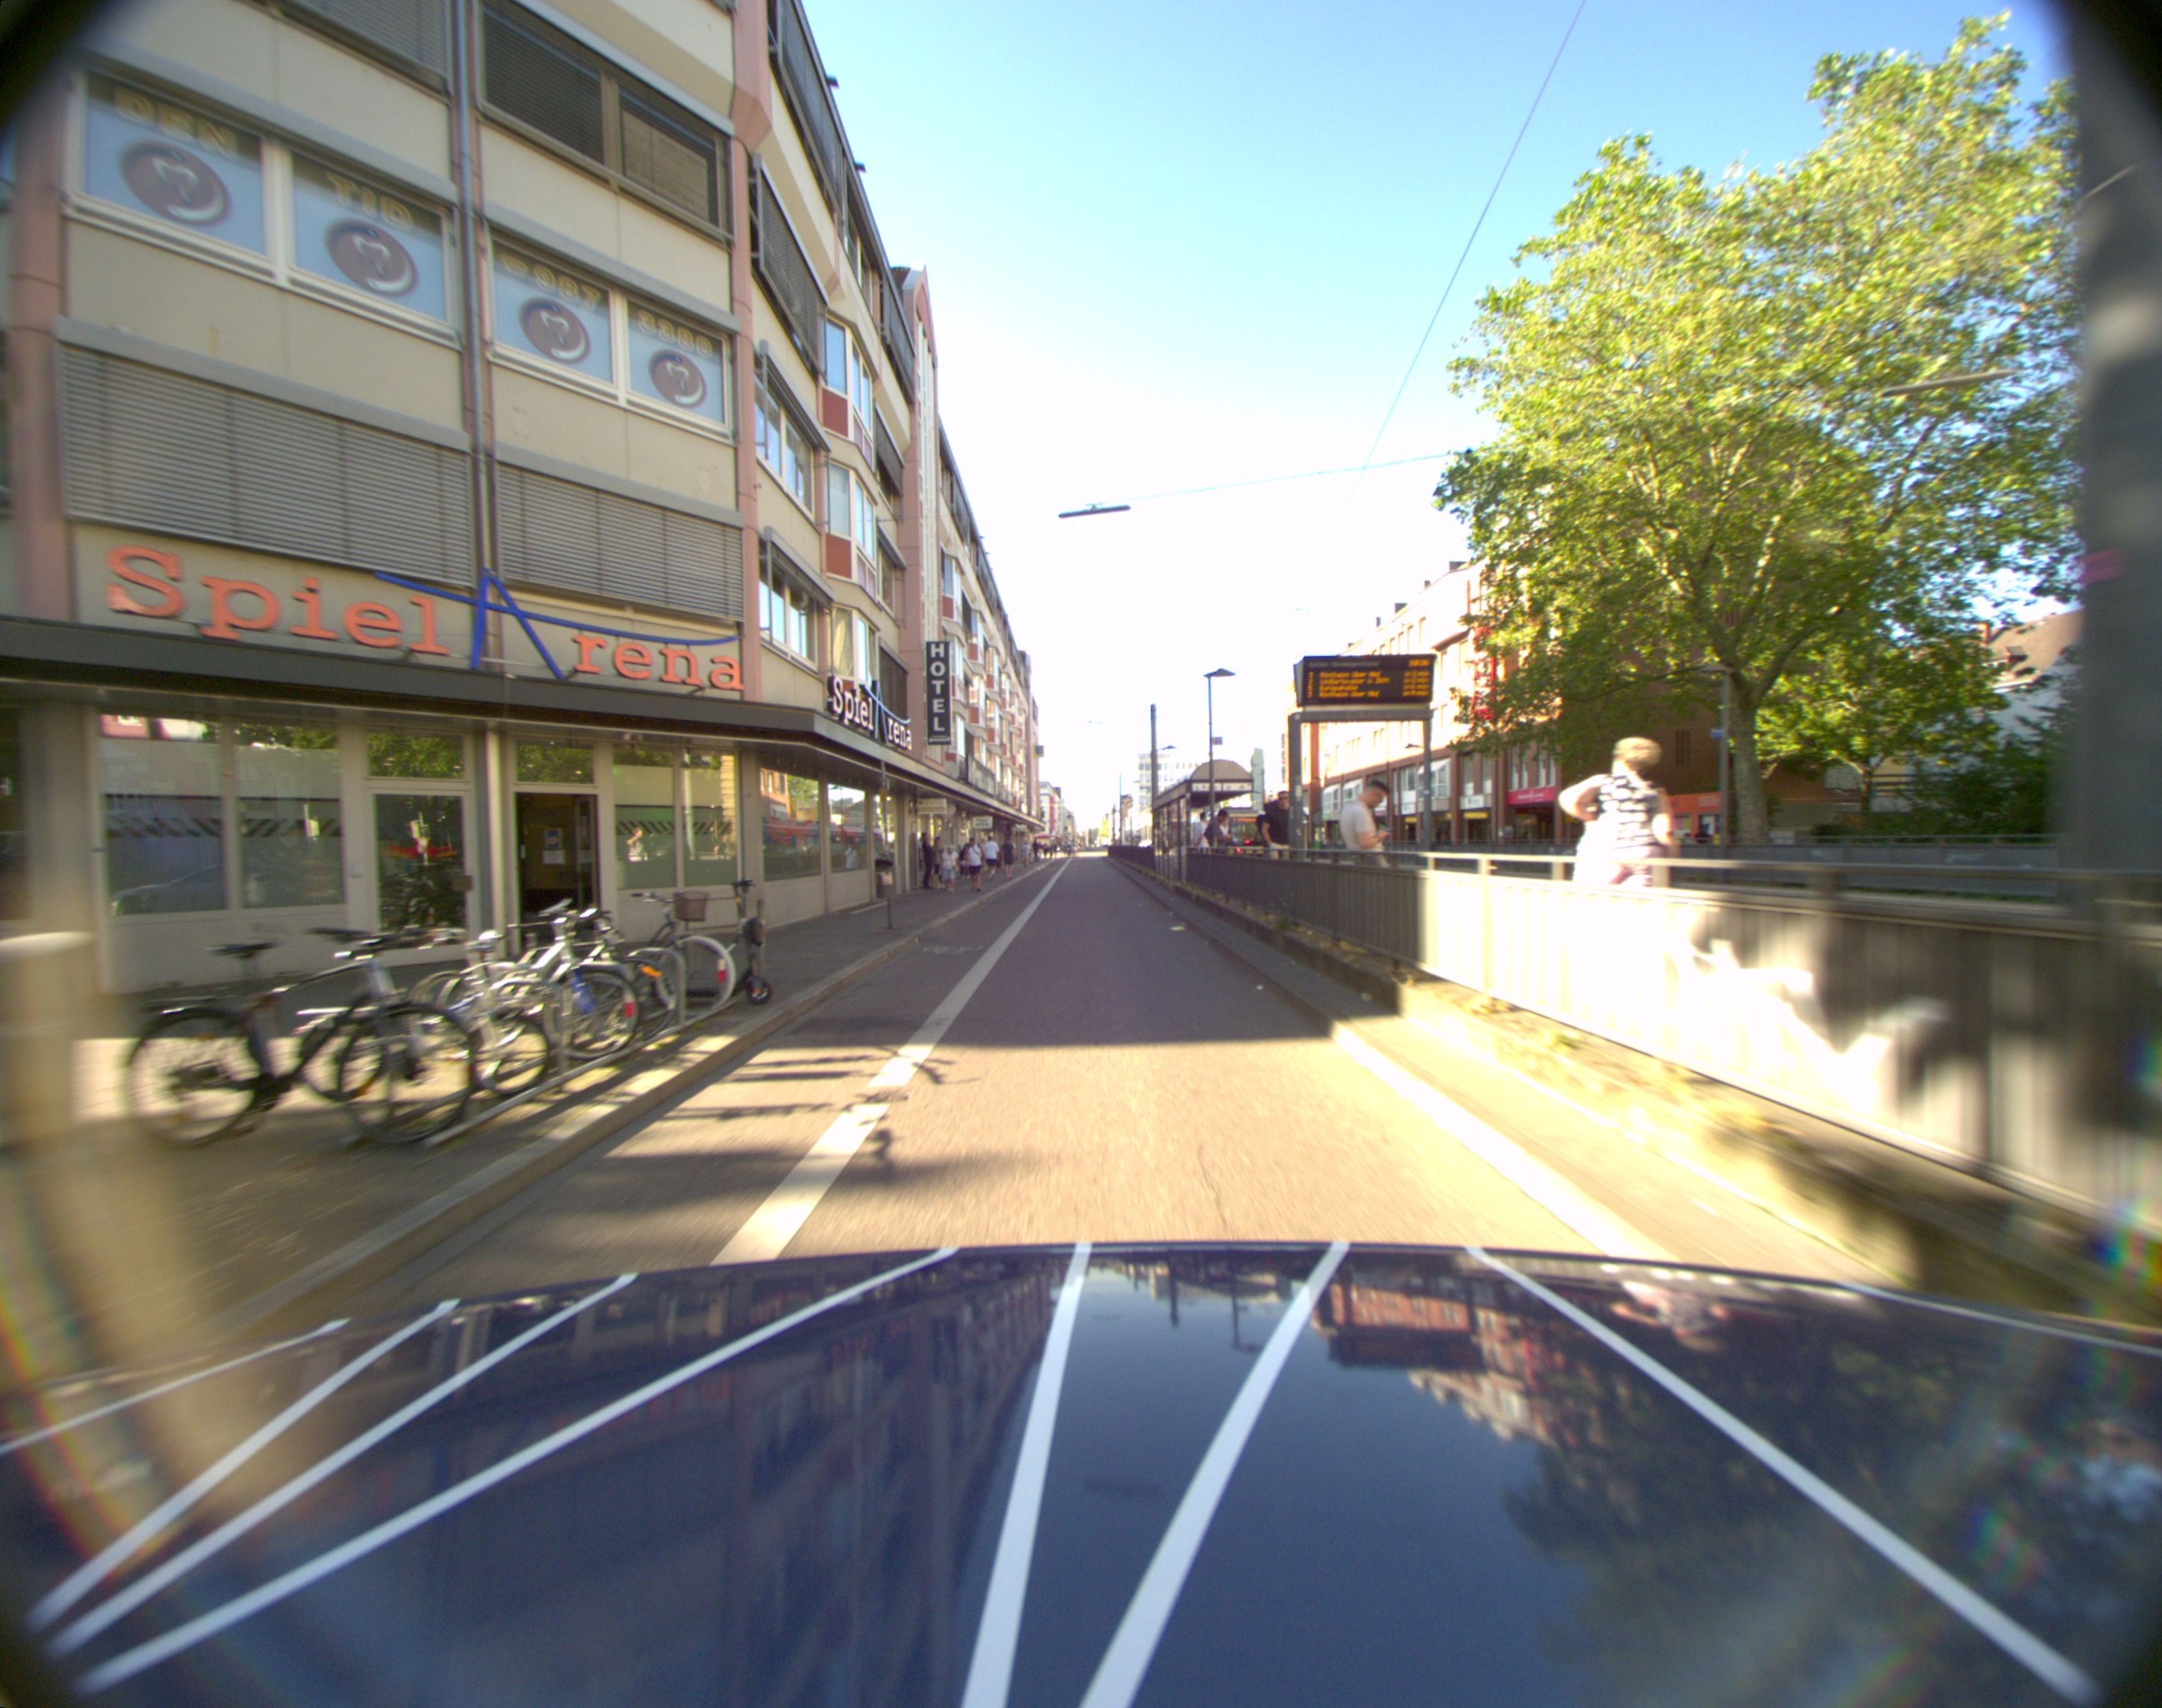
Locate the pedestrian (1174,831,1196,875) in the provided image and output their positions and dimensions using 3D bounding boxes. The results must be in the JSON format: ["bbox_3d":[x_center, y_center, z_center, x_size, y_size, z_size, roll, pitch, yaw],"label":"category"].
[{"bbox_3d":[3.015,-0.025,22.035,0.541,1.245,0.460,-3,3,-1],"label":"pedestrian"}]

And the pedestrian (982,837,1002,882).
[{"bbox_3d":[-3.652,0.215,31.393,0.708,1.810,0.763,1,2,0],"label":"pedestrian"}]

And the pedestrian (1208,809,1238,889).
[{"bbox_3d":[2.962,-0.113,15.867,0.495,1.639,0.589,-2,2,-1],"label":"pedestrian"}]

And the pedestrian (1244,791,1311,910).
[{"bbox_3d":[3.136,-0.068,12.178,0.772,1.821,0.803,-3,3,-3],"label":"pedestrian"}]

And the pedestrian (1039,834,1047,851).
[{"bbox_3d":[-3.449,-1.024,68.923,0.667,1.512,0.789,1,2,-4],"label":"pedestrian"}]

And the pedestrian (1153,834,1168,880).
[{"bbox_3d":[2.771,0.096,26.589,0.425,1.565,0.447,-2,2,0],"label":"pedestrian"}]

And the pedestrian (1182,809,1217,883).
[{"bbox_3d":[2.906,-0.195,18.674,0.691,1.755,0.747,-2,2,-1],"label":"pedestrian"}]

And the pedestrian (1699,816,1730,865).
[{"bbox_3d":[24.691,-0.516,29.619,0.708,1.871,0.626,-1,2,4],"label":"pedestrian"}]

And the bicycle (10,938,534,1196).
[{"bbox_3d":[-3.983,1.029,3.846,1.951,1.100,0.564,-1,2,-1],"label":"bicycle"}]

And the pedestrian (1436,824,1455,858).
[{"bbox_3d":[20.510,-0.742,42.761,0.791,1.905,0.665,-1,2,-1],"label":"pedestrian"}]

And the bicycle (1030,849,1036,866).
[{"bbox_3d":[-3.045,0.217,48.264,0.303,0.984,1.759,-1,2,-1],"label":"bicycle"}]

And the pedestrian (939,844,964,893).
[{"bbox_3d":[-4.028,0.436,23.595,0.637,1.475,0.654,1,2,-1],"label":"pedestrian"}]

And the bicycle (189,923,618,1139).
[{"bbox_3d":[-3.916,1.005,4.495,1.951,1.100,0.564,-1,2,-1],"label":"bicycle"}]

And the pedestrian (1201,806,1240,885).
[{"bbox_3d":[3.149,-0.199,17.189,0.691,1.742,0.747,-2,2,-1],"label":"pedestrian"}]

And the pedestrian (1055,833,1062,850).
[{"bbox_3d":[-2.498,-1.417,84.487,0.680,1.832,0.606,-3,2,-12],"label":"pedestrian"}]

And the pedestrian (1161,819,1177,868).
[{"bbox_3d":[2.900,-0.344,25.074,0.425,1.565,0.592,-2,2,1],"label":"pedestrian"}]

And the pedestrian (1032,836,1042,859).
[{"bbox_3d":[-3.528,-0.535,61.217,0.676,1.851,0.992,0,2,2],"label":"pedestrian"}]

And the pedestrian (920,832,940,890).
[{"bbox_3d":[-4.825,0.210,24.309,0.452,1.839,0.811,0,2,-1],"label":"pedestrian"}]

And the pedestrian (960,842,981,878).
[{"bbox_3d":[-4.560,0.231,31.426,0.740,1.464,0.706,1,2,1],"label":"pedestrian"}]

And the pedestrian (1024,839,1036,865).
[{"bbox_3d":[-3.230,-0.106,48.269,0.664,1.621,0.705,-1,2,-1],"label":"pedestrian"}]

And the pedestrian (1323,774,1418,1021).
[{"bbox_3d":[2.605,0.365,6.888,0.539,2.108,0.807,-1,2,0],"label":"pedestrian"}]

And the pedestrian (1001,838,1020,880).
[{"bbox_3d":[-2.946,0.186,31.801,0.669,1.719,0.810,1,2,-1],"label":"pedestrian"}]

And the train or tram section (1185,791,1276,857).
[{"bbox_3d":[9.707,-1.858,51.752,2.981,3.624,16.482,-3,1,1],"label":"train or tram section"}]

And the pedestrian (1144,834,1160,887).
[{"bbox_3d":[2.158,0.189,23.070,0.321,1.563,0.543,-2,3,16],"label":"pedestrian"}]

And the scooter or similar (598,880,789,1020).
[{"bbox_3d":[-3.621,0.883,7.174,1.482,1.222,0.591,1,2,1],"label":"scooter or similar"}]

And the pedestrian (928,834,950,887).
[{"bbox_3d":[-4.761,0.224,25.500,0.631,1.759,0.500,0,2,1],"label":"pedestrian"}]

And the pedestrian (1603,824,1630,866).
[{"bbox_3d":[23.221,-0.394,32.952,0.688,1.796,0.648,-2,2,-1],"label":"pedestrian"}]

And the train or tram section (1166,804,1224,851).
[{"bbox_3d":[9.799,-2.279,66.865,2.981,3.624,13.939,-3,2,1],"label":"train or tram section"}]

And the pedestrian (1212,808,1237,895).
[{"bbox_3d":[2.797,-0.045,14.820,0.352,1.660,0.529,-2,2,-1],"label":"pedestrian"}]

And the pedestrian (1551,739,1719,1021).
[{"bbox_3d":[3.626,0.158,5.038,0.764,1.725,0.590,-1,2,20],"label":"pedestrian"}]

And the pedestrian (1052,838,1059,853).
[{"bbox_3d":[-2.695,-0.882,80.899,0.709,1.605,0.495,1,4,-1],"label":"pedestrian"}]

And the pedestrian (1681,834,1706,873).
[{"bbox_3d":[23.941,-0.020,29.719,0.584,1.521,0.474,-2,2,1],"label":"pedestrian"}]

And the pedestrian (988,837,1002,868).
[{"bbox_3d":[-4.497,-0.088,39.770,0.602,1.581,0.553,0,2,0],"label":"pedestrian"}]

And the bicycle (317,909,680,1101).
[{"bbox_3d":[-3.943,1.004,5.256,1.951,1.159,0.627,-1,2,-1],"label":"bicycle"}]

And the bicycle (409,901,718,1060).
[{"bbox_3d":[-3.959,0.954,5.909,1.951,1.100,0.564,-1,2,-1],"label":"bicycle"}]

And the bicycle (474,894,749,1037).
[{"bbox_3d":[-3.970,0.929,6.522,1.951,1.100,0.564,-1,2,-1],"label":"bicycle"}]

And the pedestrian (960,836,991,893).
[{"bbox_3d":[-3.291,0.304,23.795,0.746,1.717,0.814,-3,2,1],"label":"pedestrian"}]
